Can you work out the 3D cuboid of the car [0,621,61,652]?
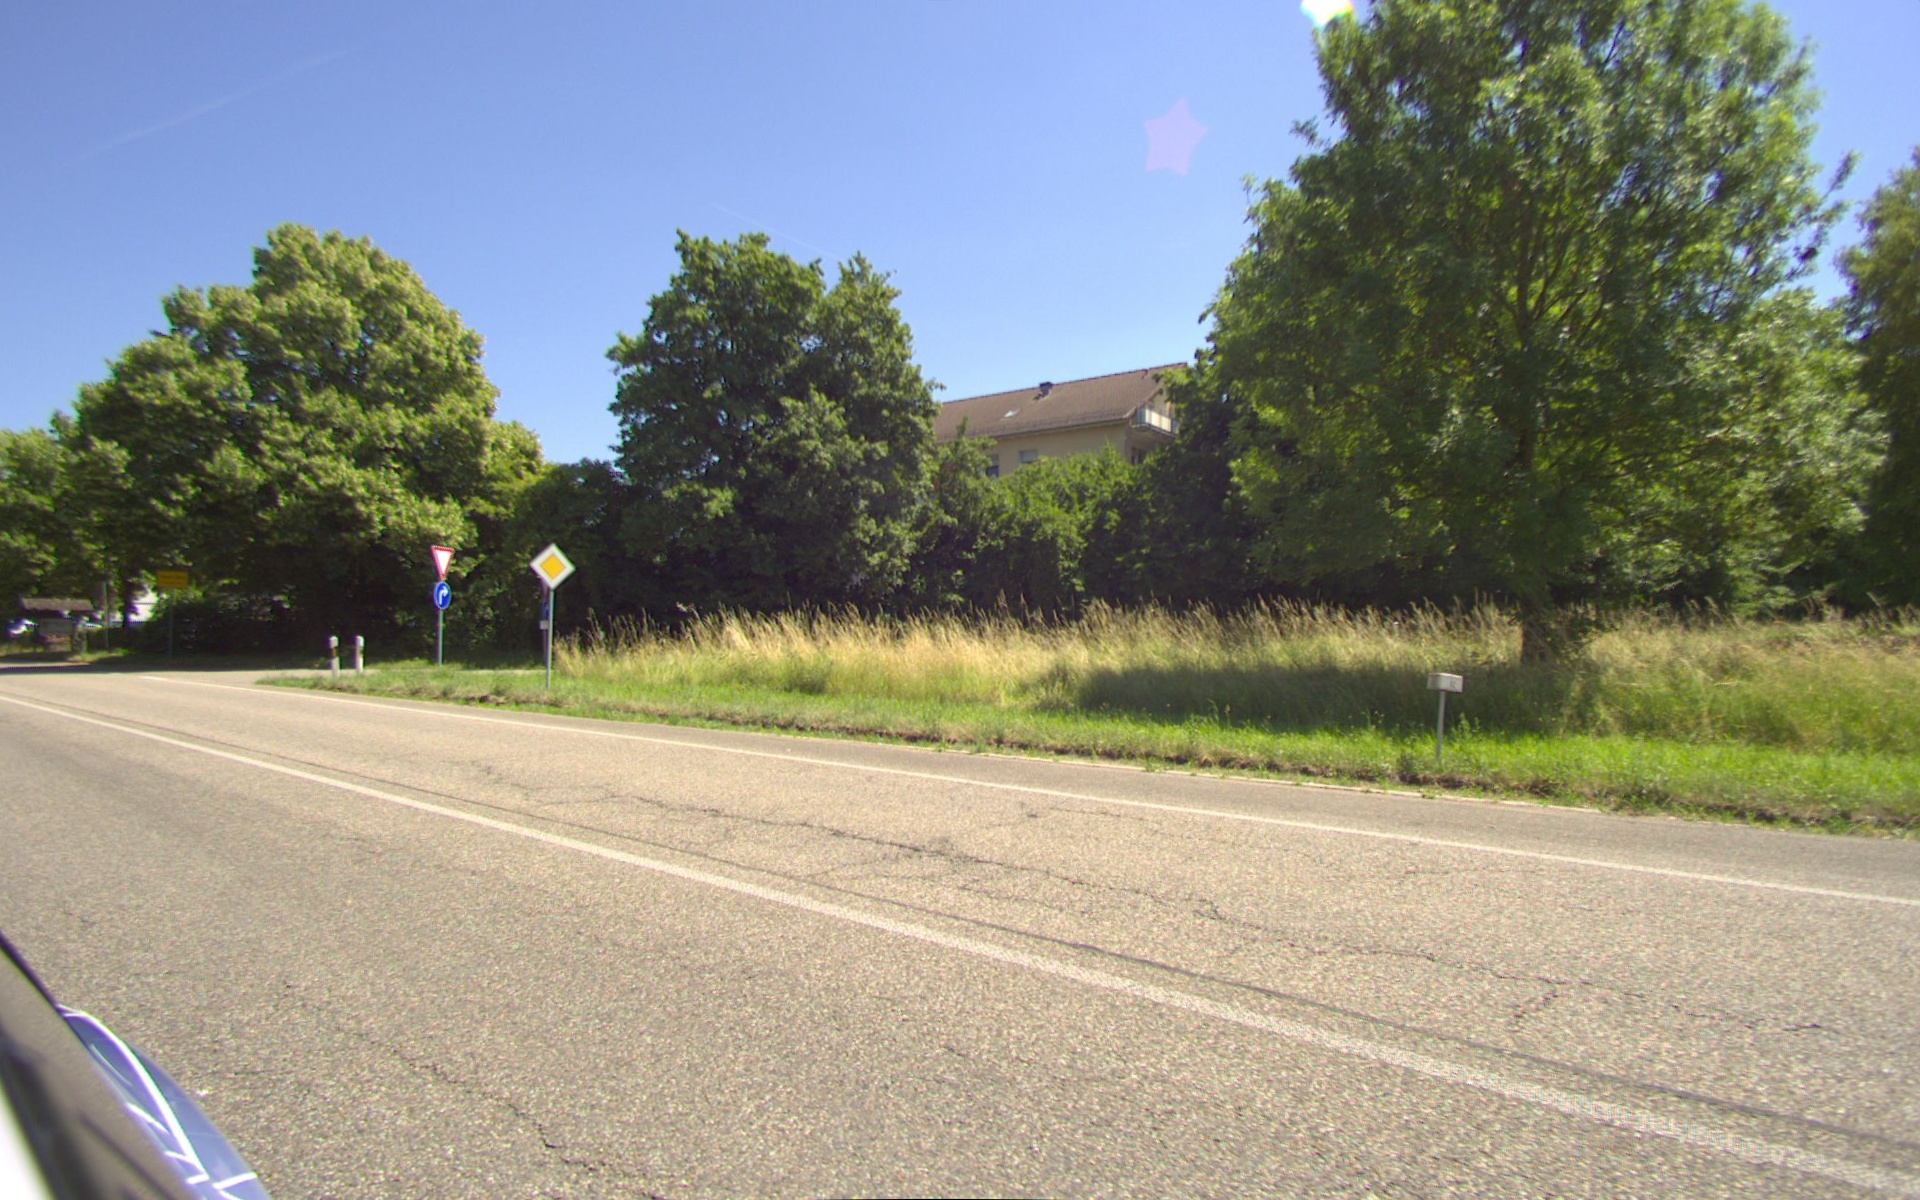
[{"bbox_3d":[-62.780,2.398,67.174,1.900,1.995,4.319,-1,-1,35],"label":"car"}]
